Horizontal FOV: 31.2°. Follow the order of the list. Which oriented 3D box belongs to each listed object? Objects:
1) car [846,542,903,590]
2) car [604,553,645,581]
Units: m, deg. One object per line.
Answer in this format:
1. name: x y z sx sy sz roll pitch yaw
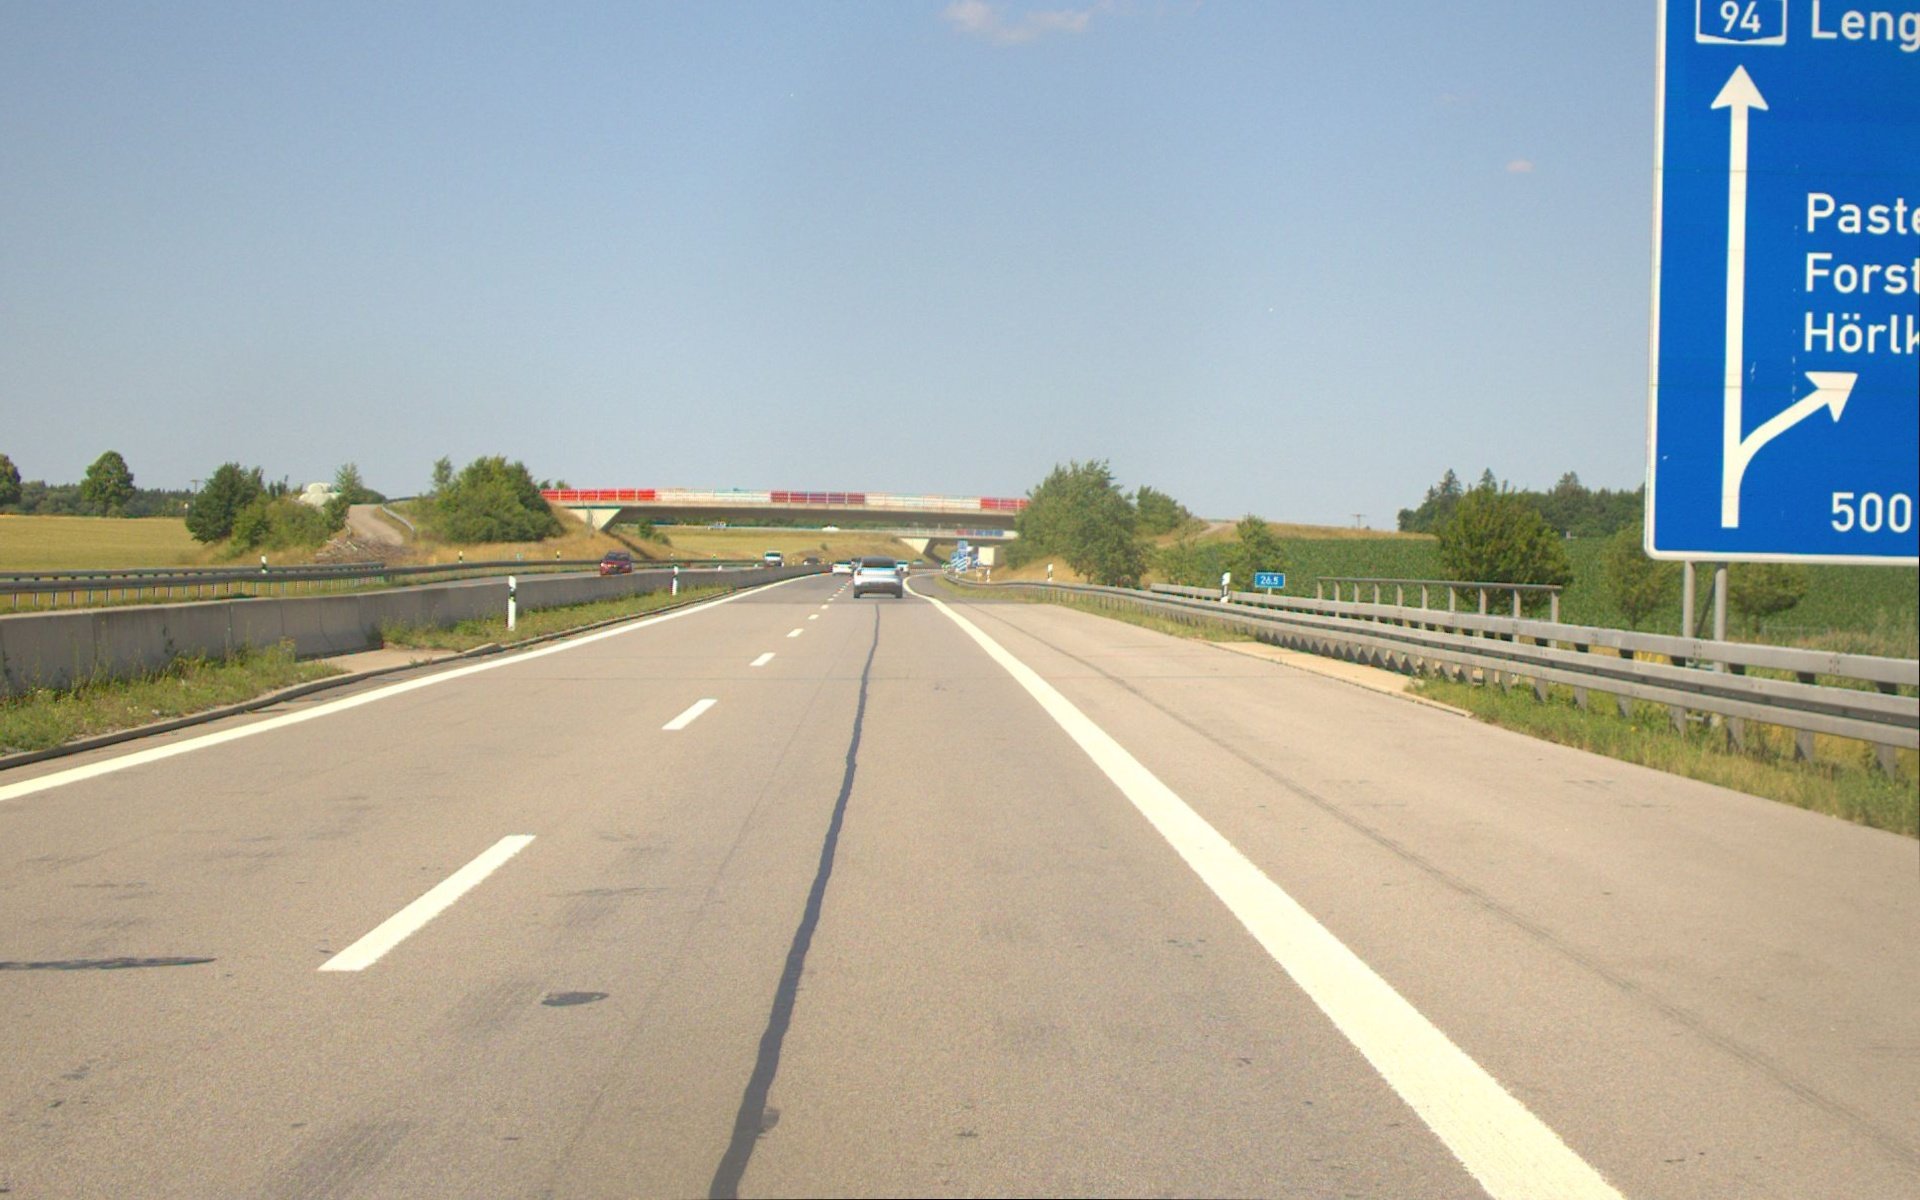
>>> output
1. car: -3.265 -1.270 129.954 1.993 1.725 4.870 1 0 -3
2. car: -18.609 -1.812 190.757 1.898 1.518 4.806 -1 0 -1
